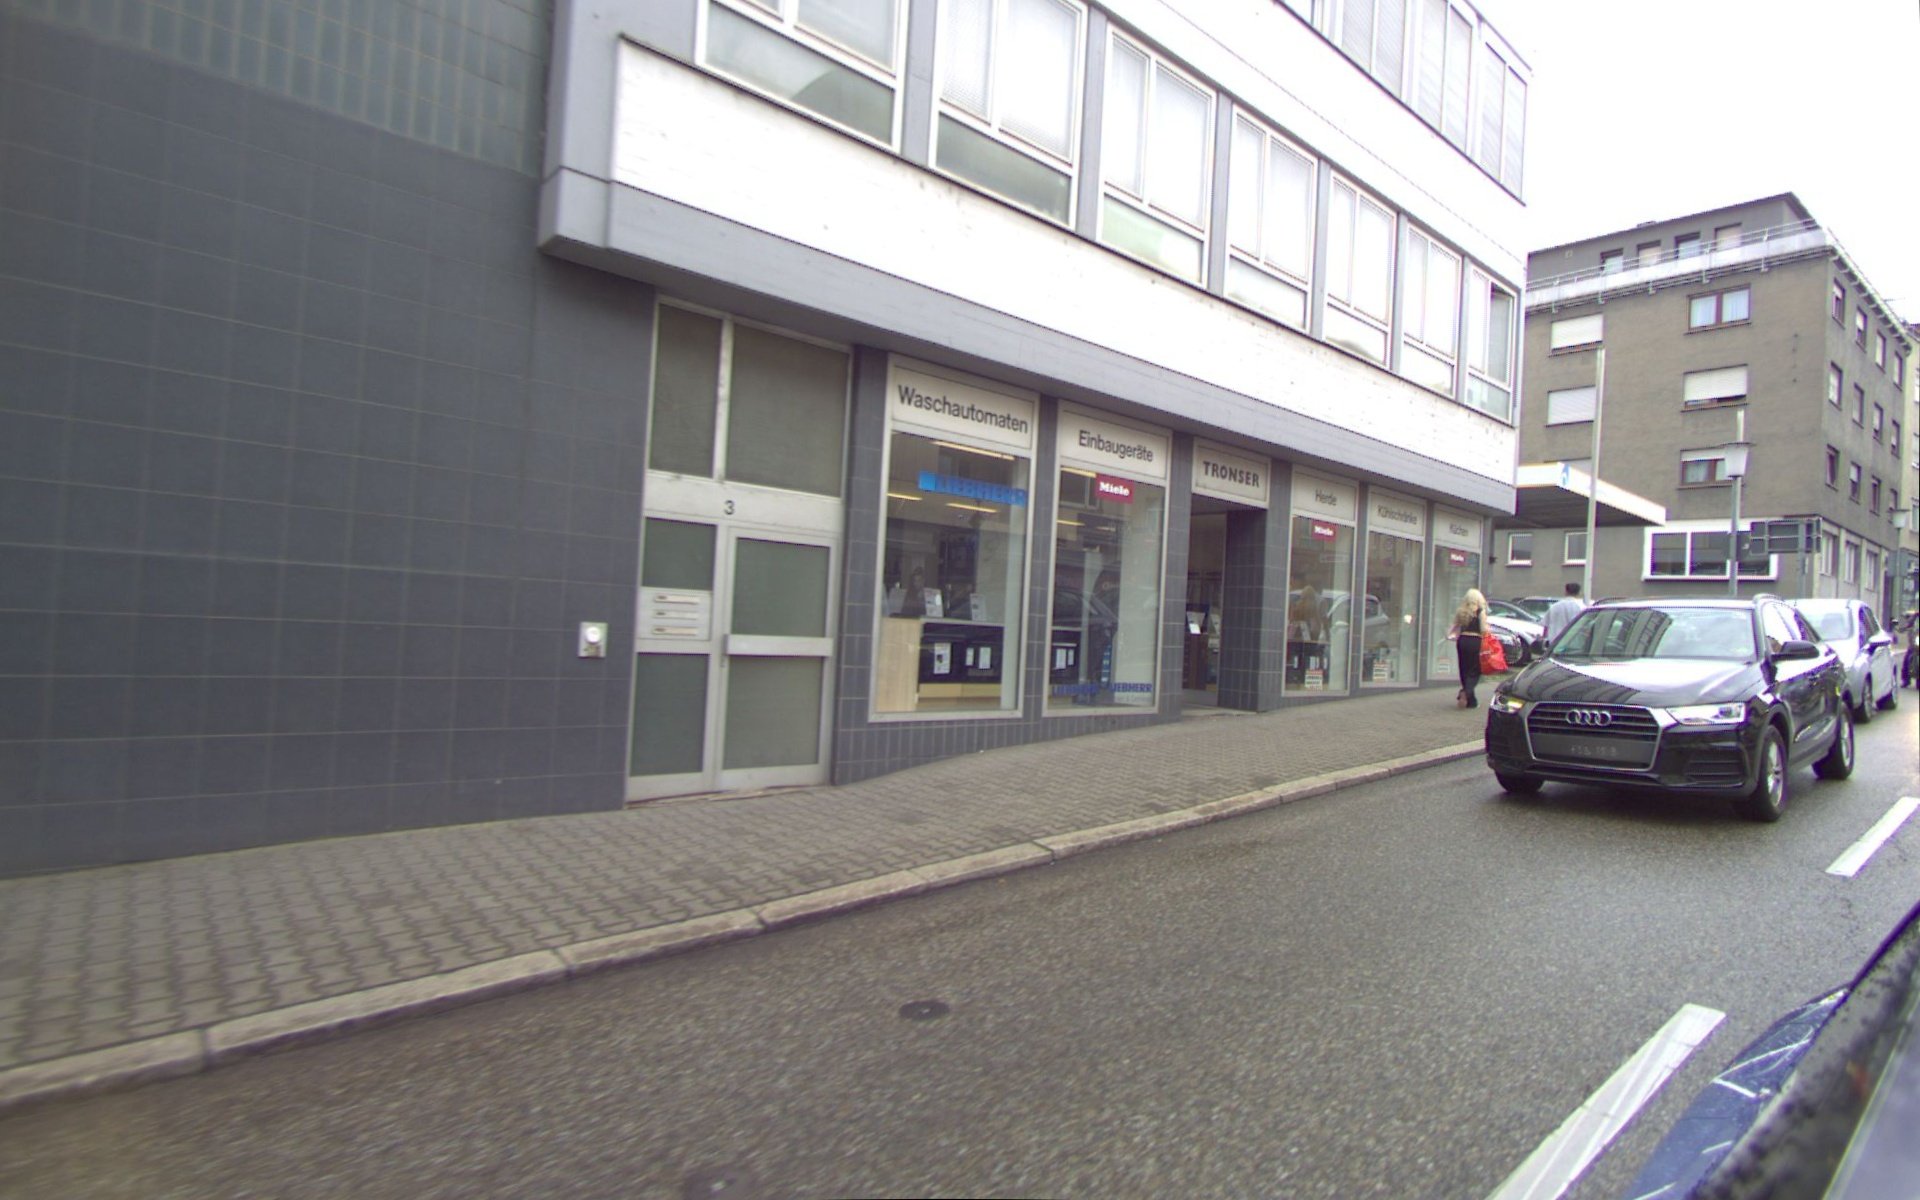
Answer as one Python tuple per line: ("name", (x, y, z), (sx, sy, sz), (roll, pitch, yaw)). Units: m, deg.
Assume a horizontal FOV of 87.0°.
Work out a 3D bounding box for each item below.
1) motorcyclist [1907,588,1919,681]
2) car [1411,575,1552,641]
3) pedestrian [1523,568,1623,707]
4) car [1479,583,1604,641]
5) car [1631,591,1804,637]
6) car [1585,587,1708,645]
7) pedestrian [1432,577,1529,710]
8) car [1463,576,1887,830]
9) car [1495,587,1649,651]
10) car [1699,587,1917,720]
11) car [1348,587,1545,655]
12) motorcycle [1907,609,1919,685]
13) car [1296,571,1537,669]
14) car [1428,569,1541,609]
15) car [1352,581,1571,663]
("motorcyclist", (17.086, 0.586, 17.584), (0.845, 1.610, 0.947), (-3, -2, 45))
("car", (14.470, 0.239, 27.993), (4.411, 1.563, 1.794), (2, 3, -40))
("pedestrian", (8.137, 0.460, 13.424), (1.102, 1.726, 0.785), (-1, 4, -43))
("car", (17.752, 0.381, 30.815), (4.339, 1.530, 1.794), (2, 4, -40))
("car", (26.762, 0.483, 35.886), (1.962, 1.523, 4.534), (0, -1, -36))
("car", (19.854, 0.412, 29.215), (4.358, 1.530, 1.792), (0, 1, -40))
("pedestrian", (6.582, 0.513, 12.807), (0.876, 1.569, 0.766), (-1, 4, -43))
("car", (6.005, 0.659, 8.326), (4.126, 1.580, 1.826), (0, -2, -40))
("car", (15.448, 0.436, 25.463), (4.530, 1.433, 1.793), (0, 2, -38))
("car", (11.825, 0.649, 14.014), (4.181, 1.561, 1.827), (0, -2, -44))
("car", (11.489, 0.438, 23.992), (3.976, 1.418, 1.649), (1, 1, 36))
("motorcycle", (17.102, 0.793, 17.599), (0.845, 1.241, 2.335), (-2, -2, 44))
("car", (8.811, 0.305, 19.622), (3.974, 1.468, 1.777), (6, 3, 34))
("car", (21.873, -0.487, 42.293), (1.761, 1.472, 3.754), (3, 1, -37))
("car", (10.587, 0.401, 21.459), (3.973, 1.549, 1.742), (1, 1, 35))
